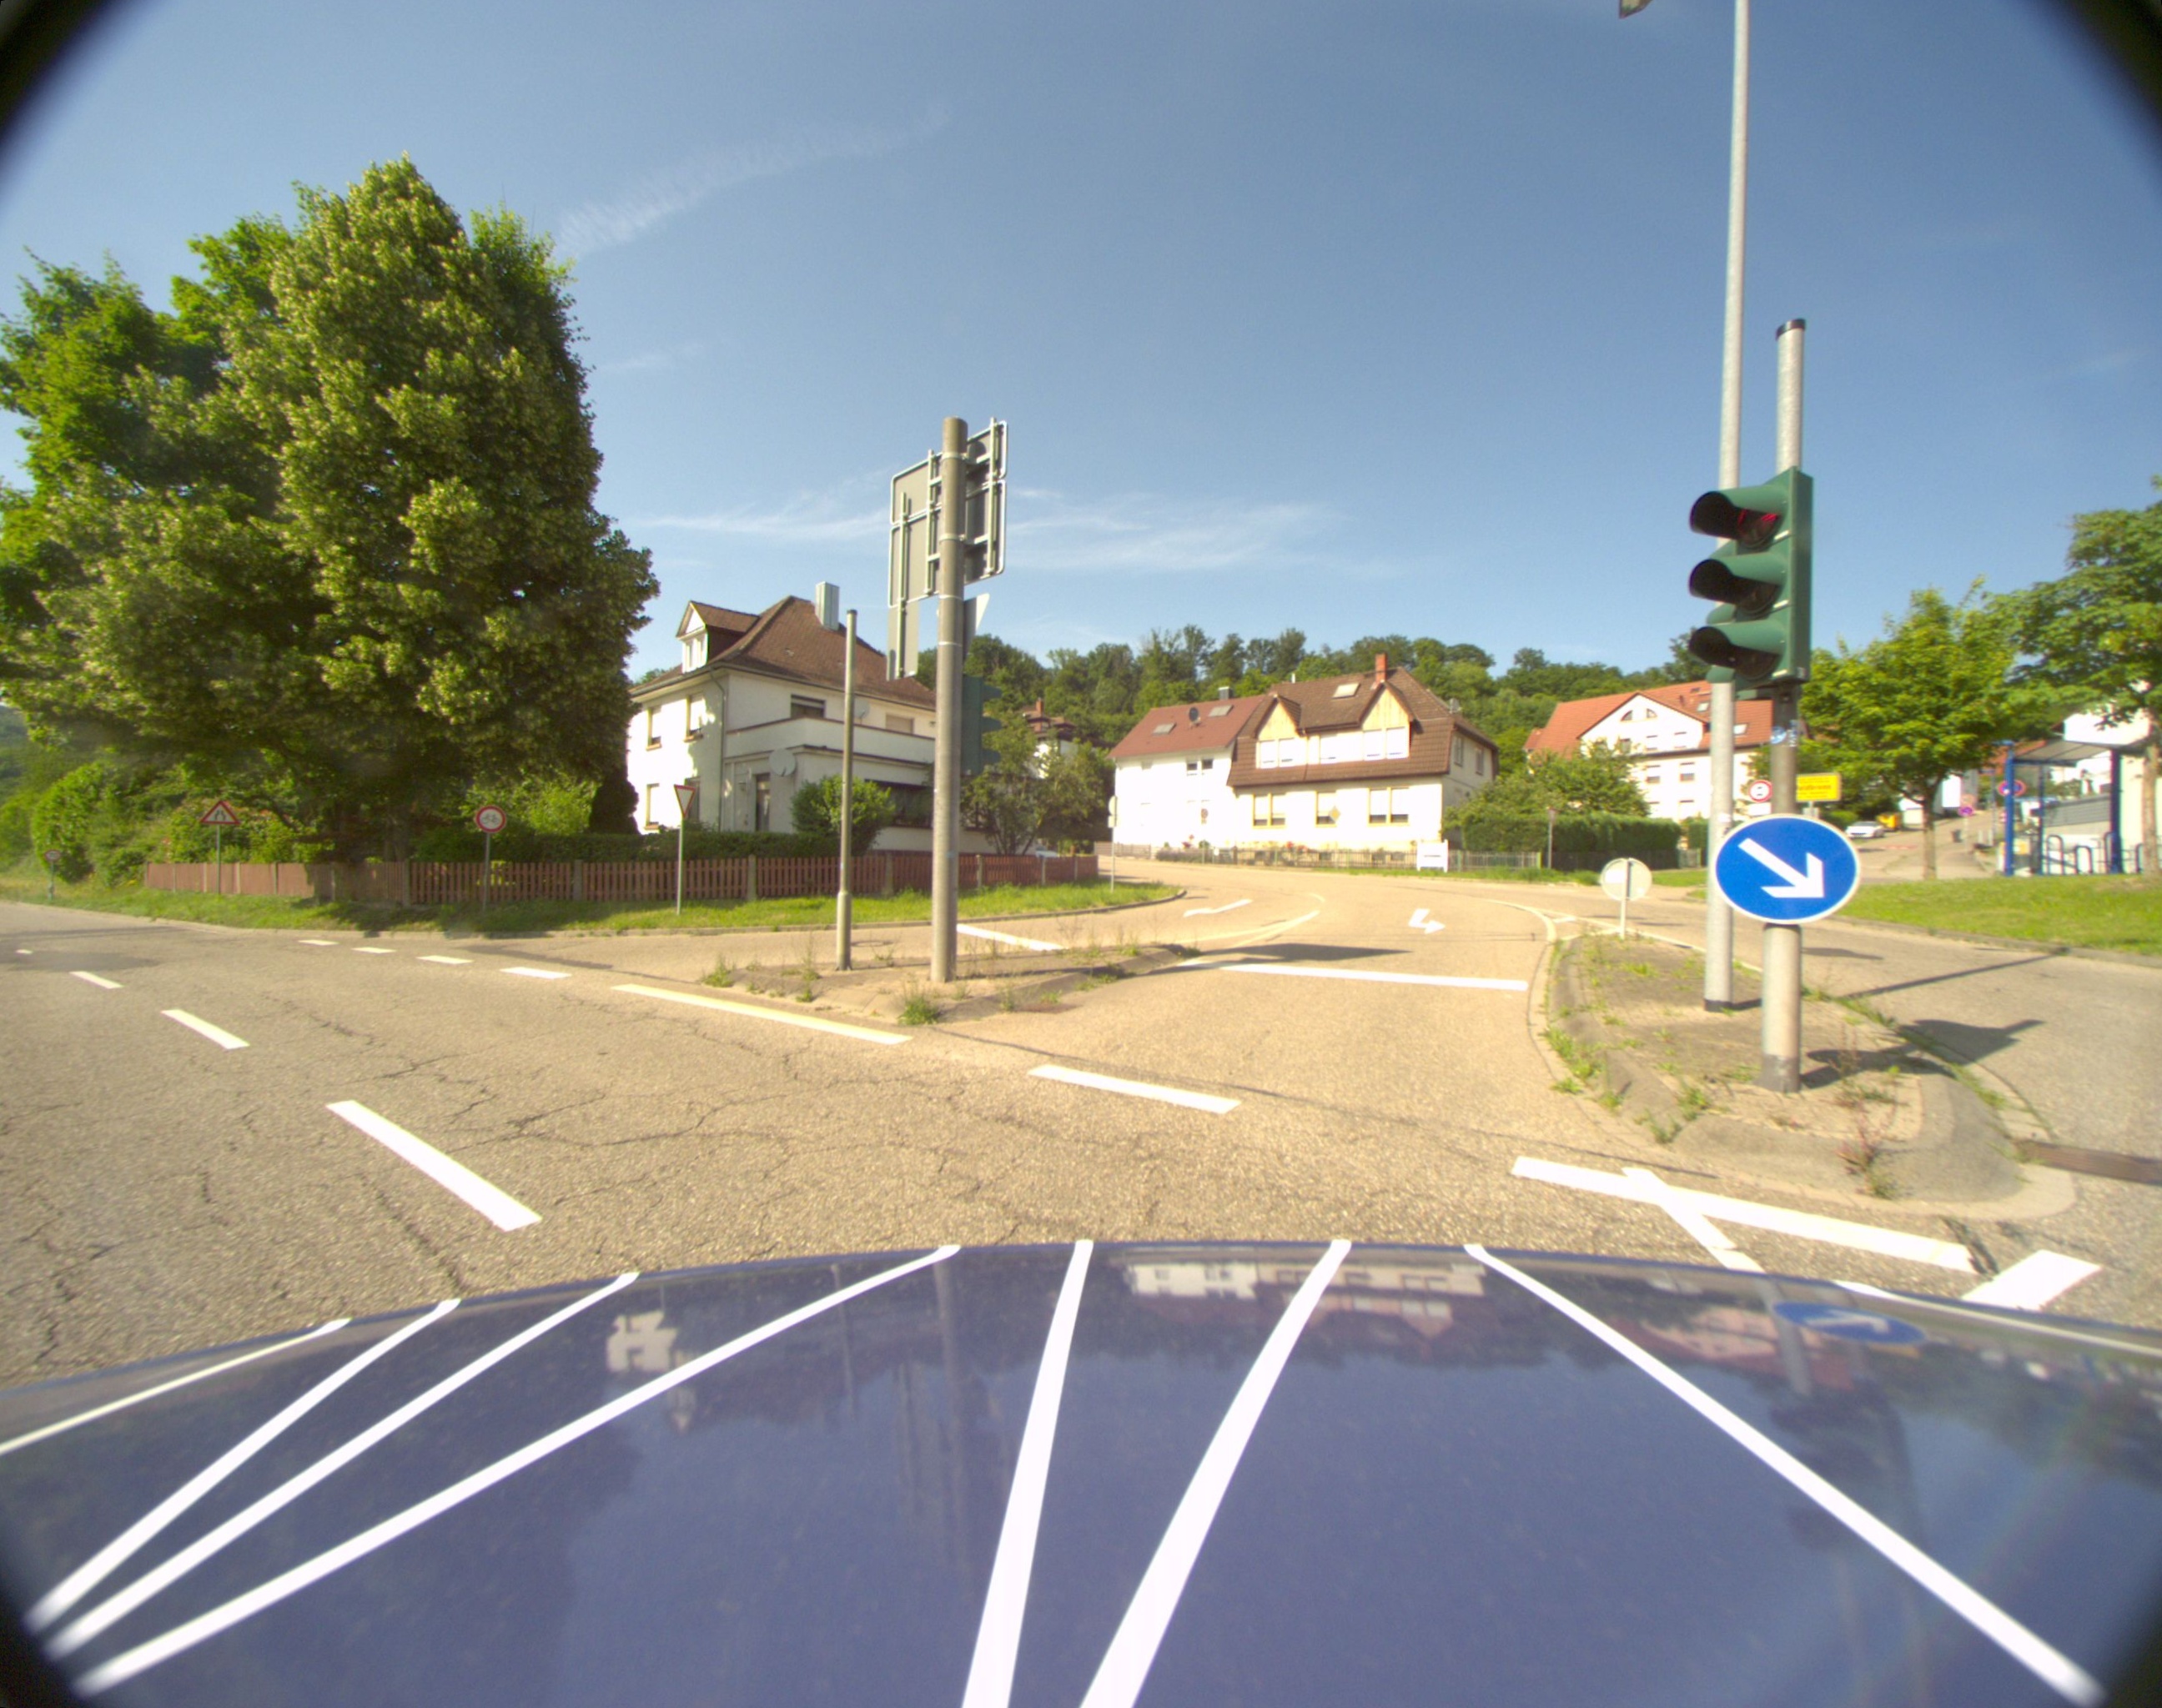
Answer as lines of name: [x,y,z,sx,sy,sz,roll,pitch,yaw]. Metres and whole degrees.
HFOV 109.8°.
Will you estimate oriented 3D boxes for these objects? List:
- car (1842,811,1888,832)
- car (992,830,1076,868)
car: [68.209,-2.830,66.120,4.006,1.798,1.995,-2,1,-32]
car: [-2.292,-0.214,36.383,1.944,1.628,3.989,-4,1,-41]
